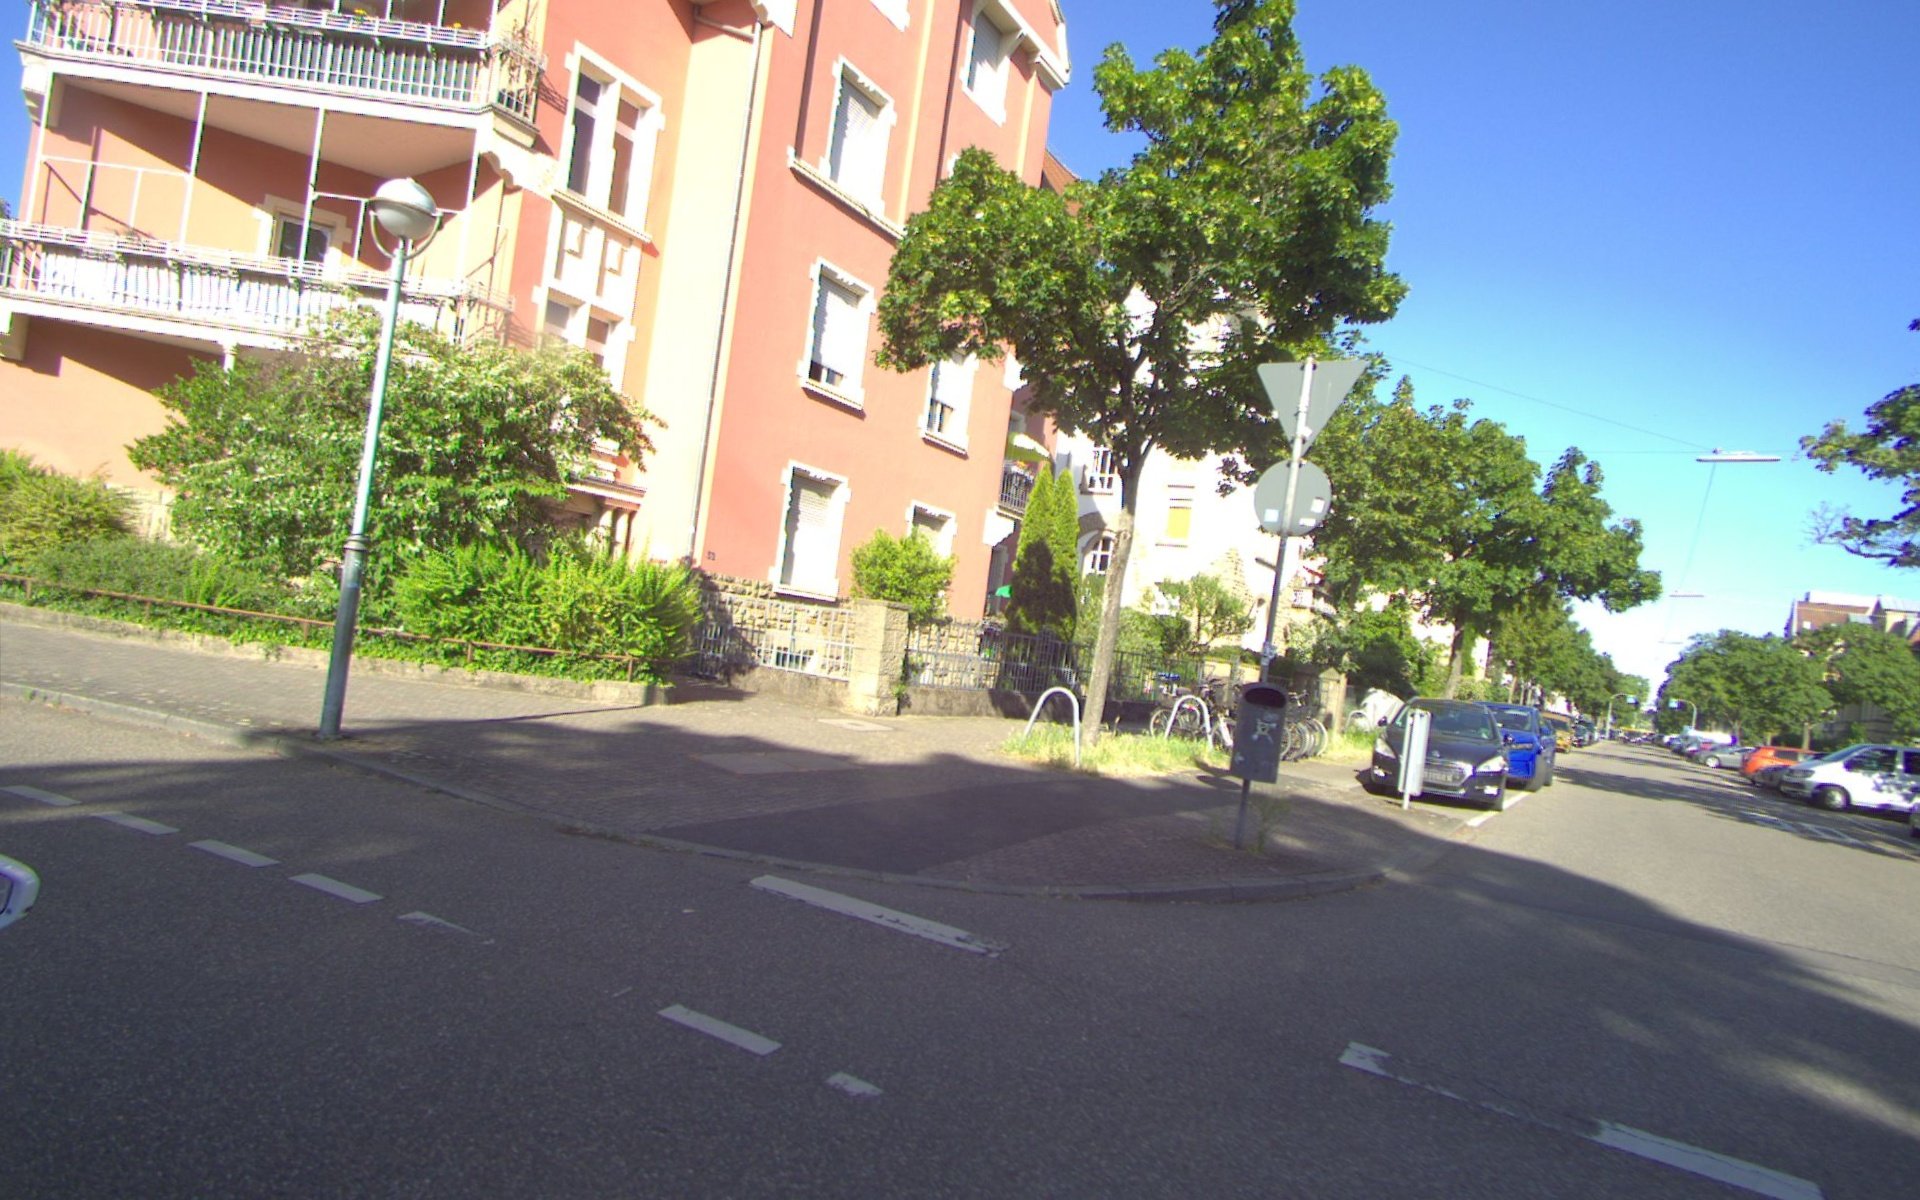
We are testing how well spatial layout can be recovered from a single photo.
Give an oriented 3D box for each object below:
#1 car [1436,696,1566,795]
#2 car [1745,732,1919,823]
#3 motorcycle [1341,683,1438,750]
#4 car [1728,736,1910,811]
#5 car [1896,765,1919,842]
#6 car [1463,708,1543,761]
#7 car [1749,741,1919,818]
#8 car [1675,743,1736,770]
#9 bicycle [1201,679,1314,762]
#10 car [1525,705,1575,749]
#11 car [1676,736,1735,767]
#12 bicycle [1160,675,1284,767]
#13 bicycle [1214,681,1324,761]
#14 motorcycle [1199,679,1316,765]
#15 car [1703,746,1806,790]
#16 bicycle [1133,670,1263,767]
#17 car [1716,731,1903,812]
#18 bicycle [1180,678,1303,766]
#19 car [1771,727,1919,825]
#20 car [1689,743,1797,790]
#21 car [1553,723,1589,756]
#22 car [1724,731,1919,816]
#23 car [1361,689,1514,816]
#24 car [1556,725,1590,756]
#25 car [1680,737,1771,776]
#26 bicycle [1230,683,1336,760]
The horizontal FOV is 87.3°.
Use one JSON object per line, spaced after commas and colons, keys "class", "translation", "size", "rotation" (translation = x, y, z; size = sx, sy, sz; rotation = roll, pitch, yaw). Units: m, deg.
{"class": "car", "translation": [11.026, 2.881, 20.346], "size": [1.781, 1.579, 4.390], "rotation": [4, -4, 34]}
{"class": "car", "translation": [26.125, 5.204, 29.393], "size": [4.703, 1.863, 1.806], "rotation": [8, -1, 34]}
{"class": "motorcycle", "translation": [11.653, 3.165, 27.303], "size": [2.252, 1.447, 0.952], "rotation": [10, 0, -21]}
{"class": "car", "translation": [31.705, 6.369, 37.340], "size": [4.699, 1.765, 1.808], "rotation": [8, -1, 31]}
{"class": "car", "translation": [20.415, 4.257, 20.219], "size": [1.782, 1.490, 4.326], "rotation": [8, -2, 38]}
{"class": "car", "translation": [17.692, 4.342, 32.692], "size": [1.781, 1.412, 4.390], "rotation": [4, -4, 34]}
{"class": "car", "translation": [27.189, 5.526, 31.199], "size": [3.933, 1.528, 1.798], "rotation": [8, -1, 31]}
{"class": "car", "translation": [64.484, 13.532, 87.099], "size": [3.933, 1.528, 1.798], "rotation": [8, -1, 31]}
{"class": "bicycle", "translation": [5.227, 2.105, 17.692], "size": [1.697, 1.120, 0.500], "rotation": [9, 0, 29]}
{"class": "car", "translation": [30.047, 6.447, 51.189], "size": [1.781, 1.951, 4.390], "rotation": [4, -3, 34]}
{"class": "car", "translation": [84.860, 17.232, 114.567], "size": [4.916, 2.541, 1.998], "rotation": [8, -1, 31]}
{"class": "bicycle", "translation": [4.154, 1.902, 16.019], "size": [1.700, 1.128, 0.545], "rotation": [9, 0, 36]}
{"class": "bicycle", "translation": [5.570, 2.169, 18.178], "size": [1.698, 1.120, 0.500], "rotation": [9, 0, 32]}
{"class": "motorcycle", "translation": [5.064, 2.062, 17.160], "size": [1.697, 1.120, 0.500], "rotation": [9, 0, 29]}
{"class": "car", "translation": [49.588, 10.442, 62.924], "size": [4.699, 1.765, 1.808], "rotation": [8, -1, 31]}
{"class": "bicycle", "translation": [3.591, 1.774, 15.247], "size": [1.700, 1.128, 0.545], "rotation": [9, 0, 36]}
{"class": "car", "translation": [30.038, 6.011, 35.793], "size": [4.703, 1.863, 1.806], "rotation": [8, -1, 34]}
{"class": "bicycle", "translation": [4.651, 1.995, 16.643], "size": [1.796, 1.120, 0.501], "rotation": [9, 0, 20]}
{"class": "car", "translation": [24.800, 4.808, 26.690], "size": [4.699, 2.024, 1.808], "rotation": [8, -1, 31]}
{"class": "car", "translation": [46.468, 9.849, 59.826], "size": [4.699, 1.765, 1.808], "rotation": [8, -1, 31]}
{"class": "car", "translation": [41.758, 9.507, 68.722], "size": [1.781, 1.951, 4.390], "rotation": [4, -3, 34]}
{"class": "car", "translation": [28.837, 5.745, 33.840], "size": [4.703, 1.863, 1.806], "rotation": [8, -1, 34]}
{"class": "car", "translation": [7.592, 2.292, 15.758], "size": [1.779, 1.500, 4.335], "rotation": [4, -3, 30]}
{"class": "car", "translation": [44.613, 10.183, 73.147], "size": [1.781, 1.951, 4.390], "rotation": [4, -3, 34]}
{"class": "car", "translation": [53.370, 10.892, 70.269], "size": [4.699, 1.765, 1.808], "rotation": [8, -1, 31]}
{"class": "bicycle", "translation": [6.099, 2.281, 19.058], "size": [1.698, 1.120, 0.515], "rotation": [9, 0, 32]}
